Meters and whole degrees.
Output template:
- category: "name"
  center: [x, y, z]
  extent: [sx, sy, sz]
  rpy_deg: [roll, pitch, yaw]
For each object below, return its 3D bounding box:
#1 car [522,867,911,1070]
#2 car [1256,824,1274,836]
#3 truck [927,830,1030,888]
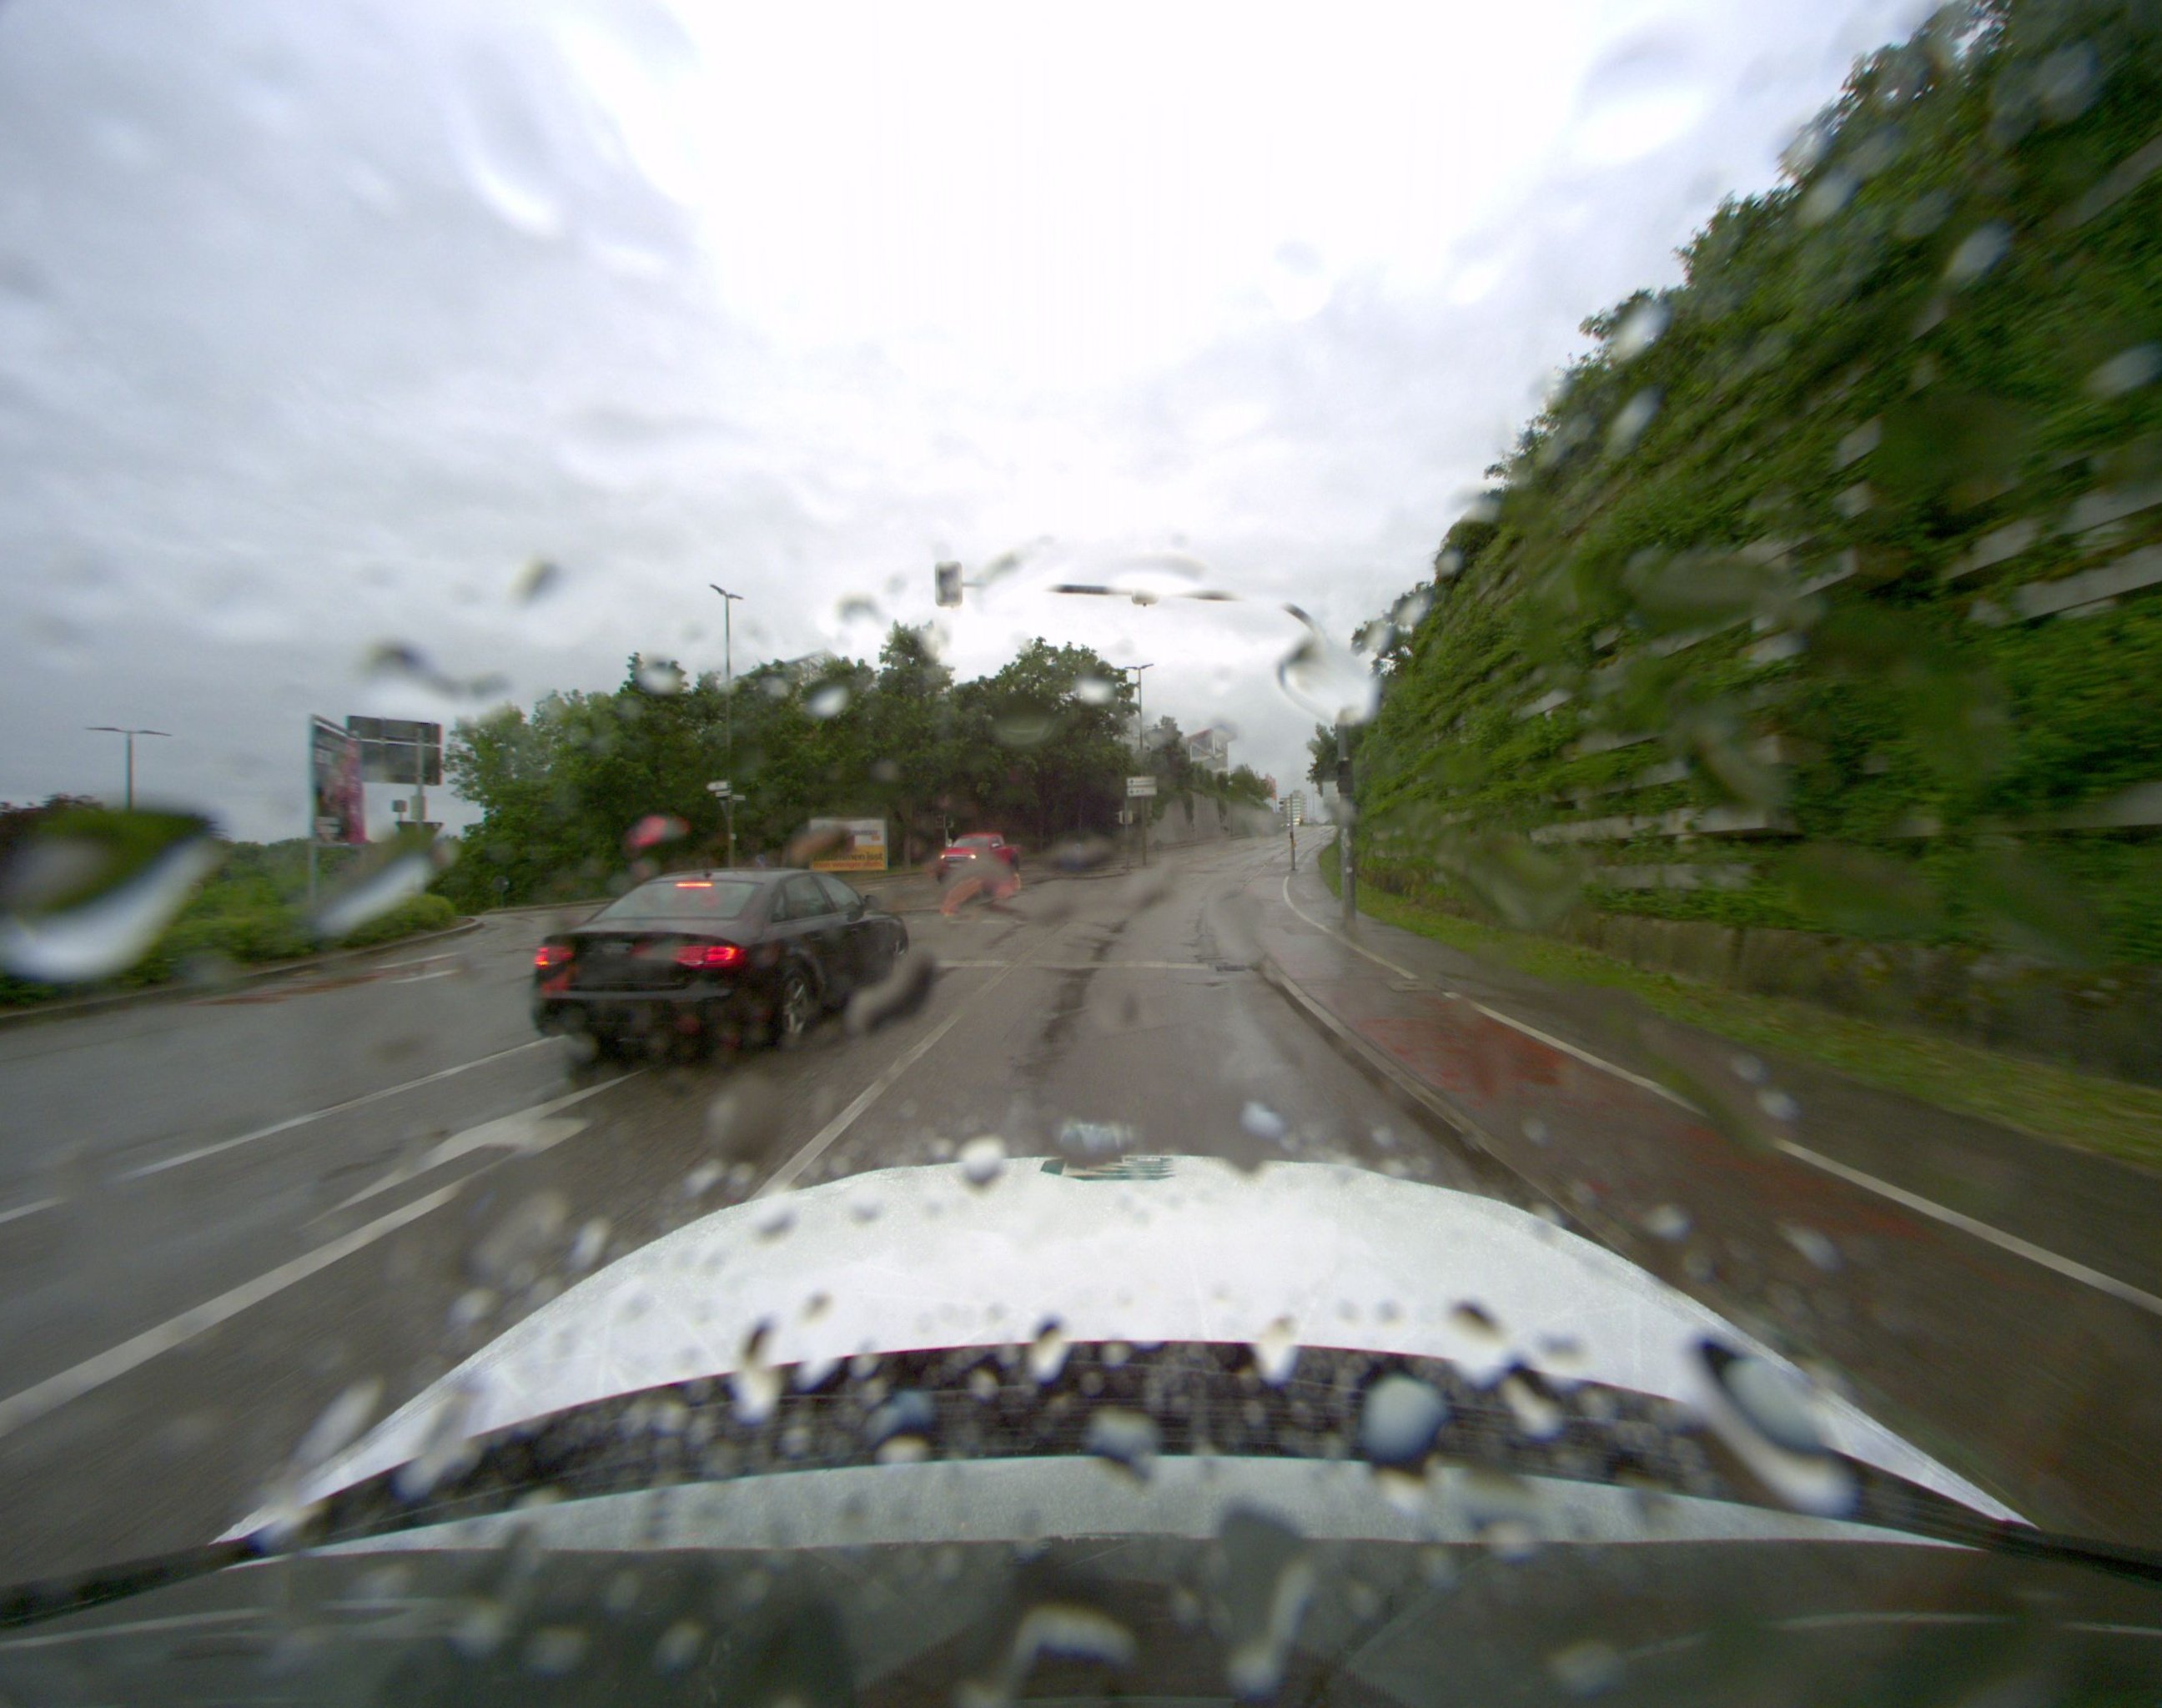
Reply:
- category: "car"
  center: [-3.026, 0.847, 7.812]
  extent: [1.747, 1.395, 4.003]
  rpy_deg: [0, 0, 3]
- category: "car"
  center: [23.274, -3.050, 103.130]
  extent: [1.508, 1.448, 3.816]
  rpy_deg: [0, 0, 0]
- category: "truck"
  center: [-3.863, 0.100, 31.996]
  extent: [1.978, 2.013, 5.362]
  rpy_deg: [0, 2, 17]
